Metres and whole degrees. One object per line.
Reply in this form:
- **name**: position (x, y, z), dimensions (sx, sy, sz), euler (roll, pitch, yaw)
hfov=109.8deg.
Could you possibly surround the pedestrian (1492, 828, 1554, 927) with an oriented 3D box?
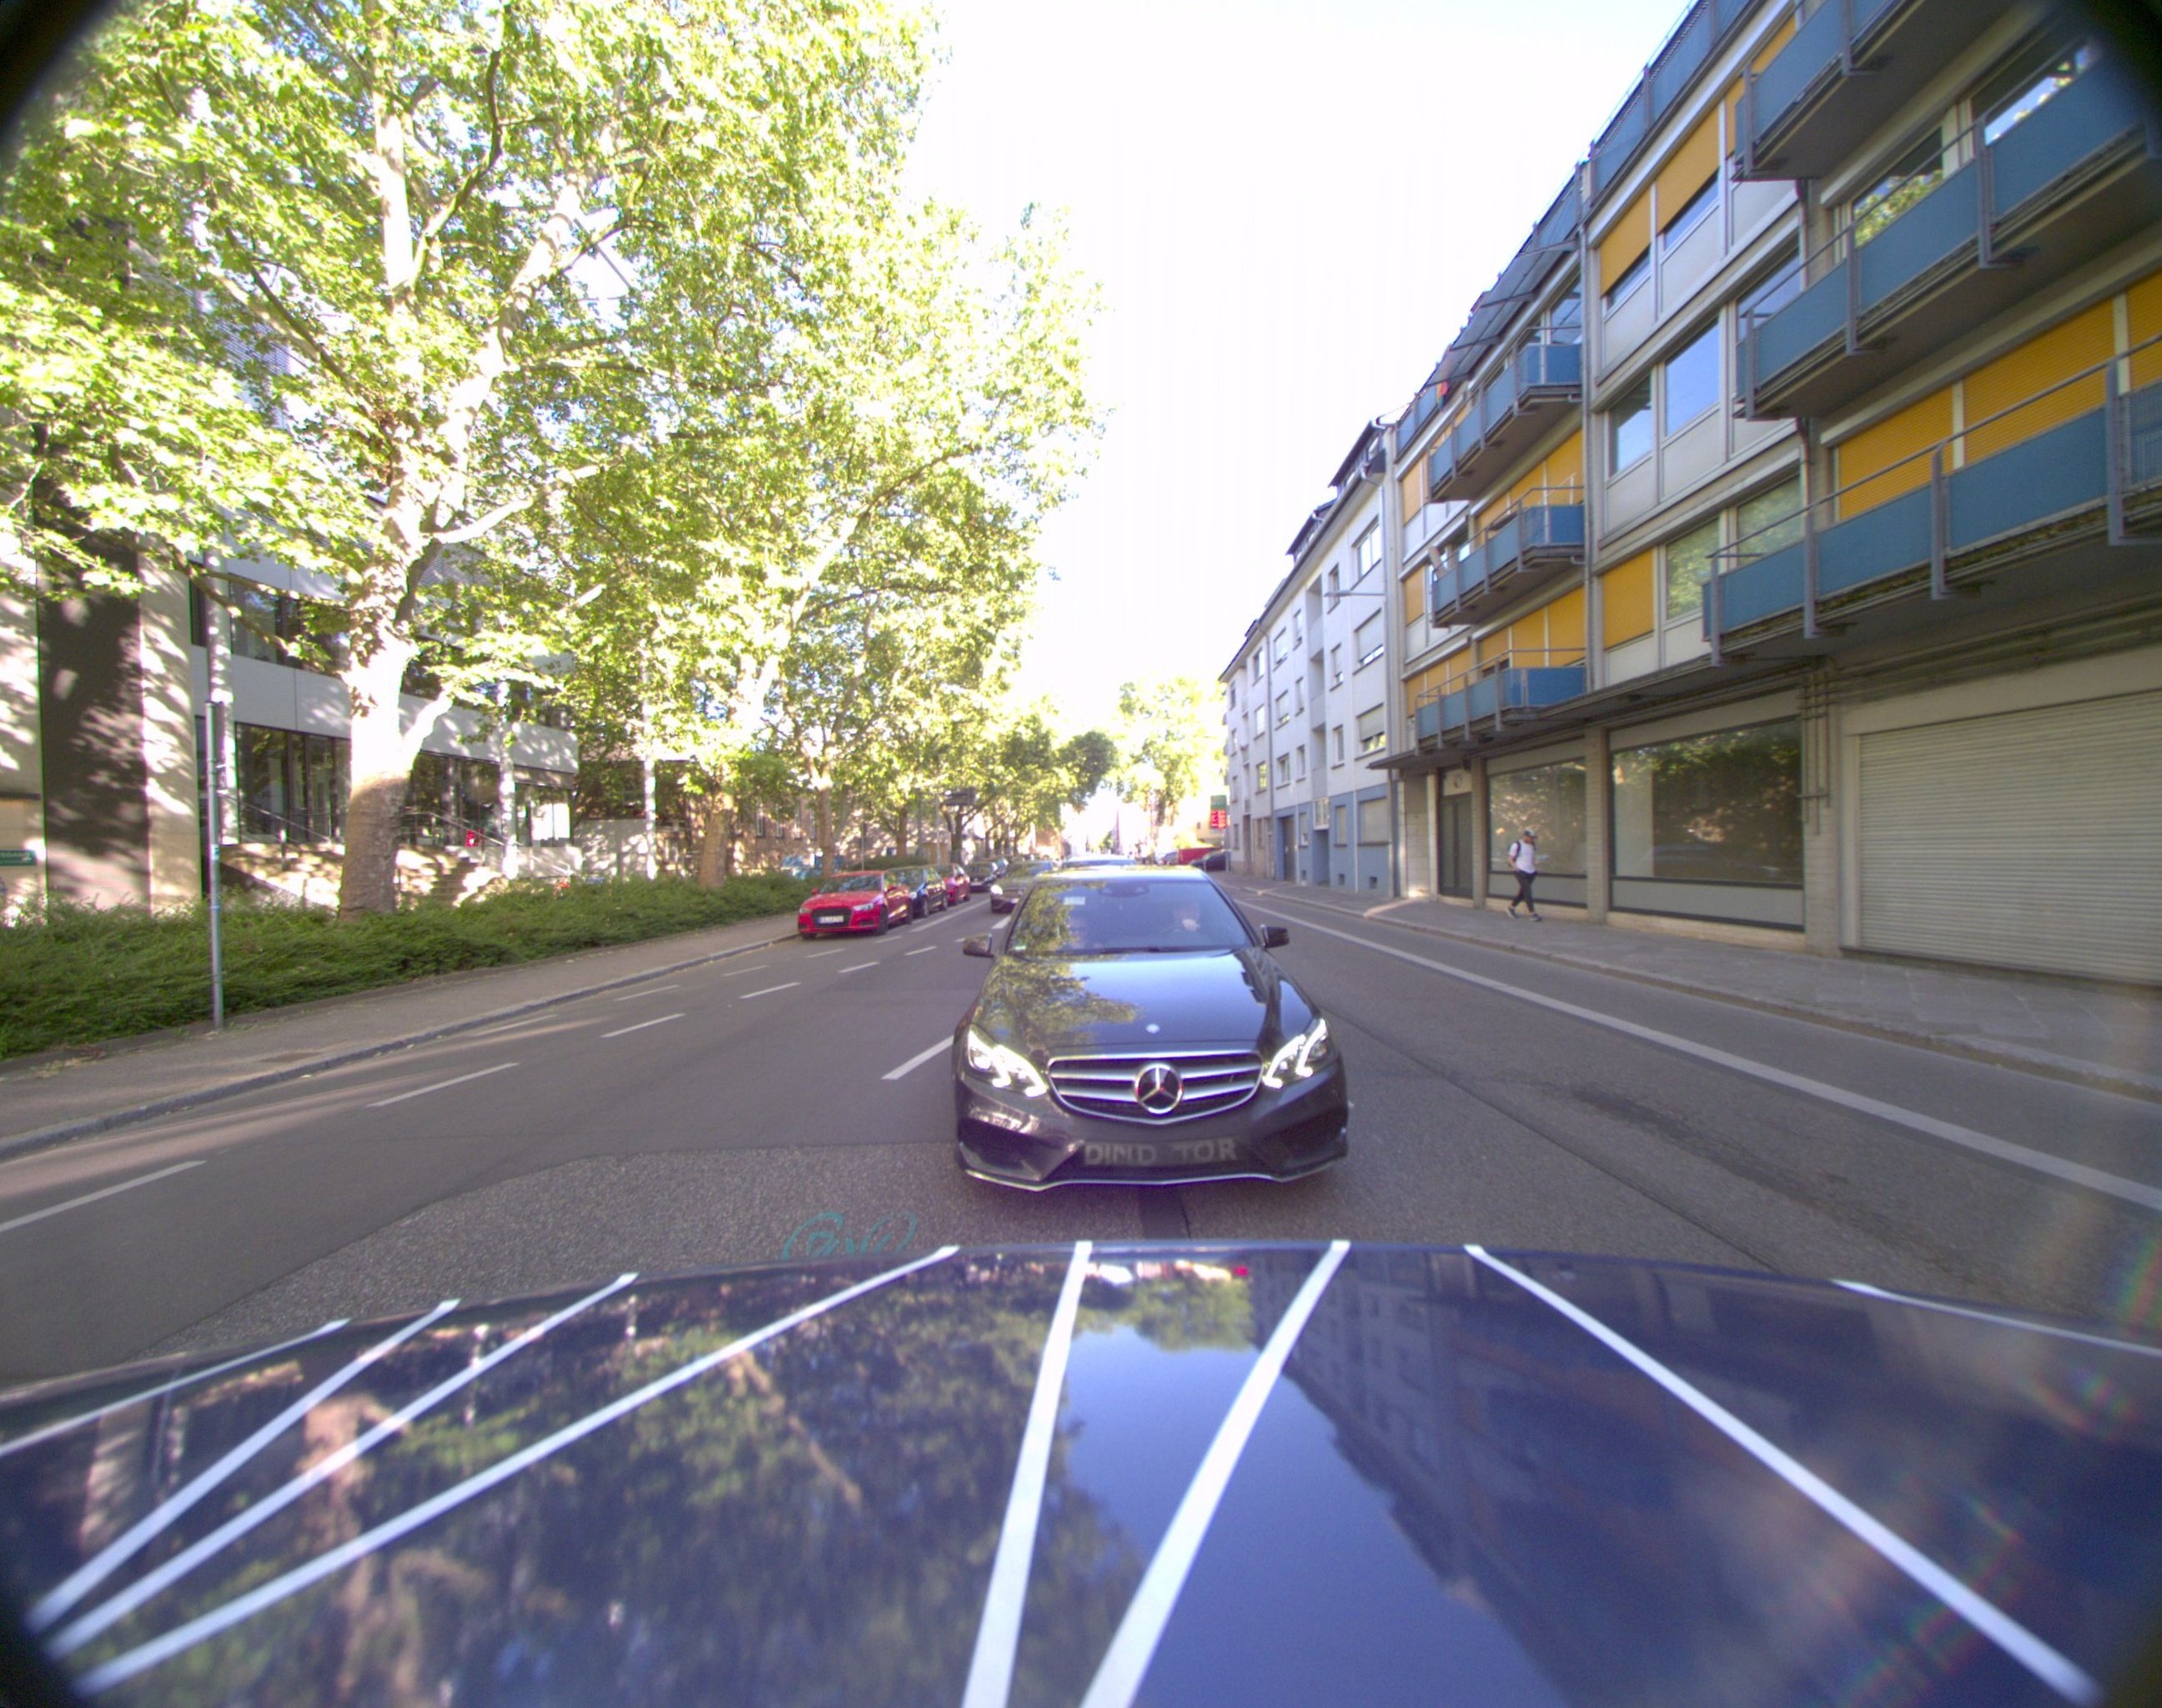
- **pedestrian**: position (8.395, 0.435, 14.450), dimensions (0.600, 1.790, 0.879), euler (-3, 1, 2)

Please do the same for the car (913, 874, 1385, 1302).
- **car**: position (0.253, 0.929, 4.788), dimensions (1.740, 1.448, 3.864), euler (-2, 0, 0)

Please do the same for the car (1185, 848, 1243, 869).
- **car**: position (10.311, 0.315, 58.959), dimensions (4.146, 1.486, 2.000), euler (-2, 0, 1)

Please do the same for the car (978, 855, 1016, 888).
- **car**: position (-4.622, 0.915, 42.247), dimensions (1.634, 1.677, 3.907), euler (-2, 0, 0)

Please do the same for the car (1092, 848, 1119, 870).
- **car**: position (2.264, 0.432, 69.038), dimensions (1.784, 1.760, 4.387), euler (-4, 0, 9)

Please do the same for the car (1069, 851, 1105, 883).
- **car**: position (0.363, 0.668, 41.081), dimensions (1.705, 1.593, 3.860), euler (-2, 0, 3)

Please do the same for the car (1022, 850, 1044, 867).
- **car**: position (-4.388, 0.422, 70.442), dimensions (1.741, 1.469, 4.091), euler (-2, 0, 0)

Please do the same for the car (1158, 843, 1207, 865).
- **car**: position (11.032, -0.023, 82.820), dimensions (4.991, 2.181, 2.000), euler (-2, 1, 1)

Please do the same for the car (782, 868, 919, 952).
- **car**: position (-5.176, 1.195, 17.663), dimensions (1.830, 1.519, 4.142), euler (-4, 0, 0)

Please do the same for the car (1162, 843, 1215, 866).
- **car**: position (10.909, 0.012, 77.337), dimensions (4.991, 2.181, 2.000), euler (-2, 1, 1)

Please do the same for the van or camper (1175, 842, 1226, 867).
- **van or camper**: position (10.055, 0.013, 64.197), dimensions (3.997, 2.002, 2.000), euler (-2, 1, 0)

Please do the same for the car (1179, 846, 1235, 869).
- **car**: position (10.134, 0.259, 61.290), dimensions (4.146, 1.681, 2.000), euler (-2, 0, 1)

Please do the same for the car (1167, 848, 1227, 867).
- **car**: position (10.156, 0.273, 66.699), dimensions (4.990, 1.486, 2.000), euler (-2, 0, 1)

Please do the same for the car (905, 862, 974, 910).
- **car**: position (-5.043, 1.101, 27.597), dimensions (1.681, 1.484, 3.918), euler (-4, 0, 0)

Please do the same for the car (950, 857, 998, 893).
- **car**: position (-5.185, 0.985, 37.318), dimensions (1.741, 1.623, 4.091), euler (-2, 0, 0)

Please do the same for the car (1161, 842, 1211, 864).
- **car**: position (11.029, -0.116, 80.189), dimensions (4.991, 2.181, 2.000), euler (-2, 1, 1)

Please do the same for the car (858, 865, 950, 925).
- **car**: position (-5.178, 1.158, 22.813), dimensions (1.741, 1.444, 4.091), euler (-4, 0, 0)

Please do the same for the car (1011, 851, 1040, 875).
- **car**: position (-4.410, 0.708, 60.652), dimensions (1.992, 1.795, 4.376), euler (-2, 0, 0)

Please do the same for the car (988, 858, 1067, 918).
- **car**: position (-1.496, 0.942, 23.050), dimensions (1.917, 1.456, 4.669), euler (-4, 0, 1)

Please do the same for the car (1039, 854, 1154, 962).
- **car**: position (0.267, 0.823, 13.804), dimensions (1.646, 1.520, 4.619), euler (-4, 0, 1)
